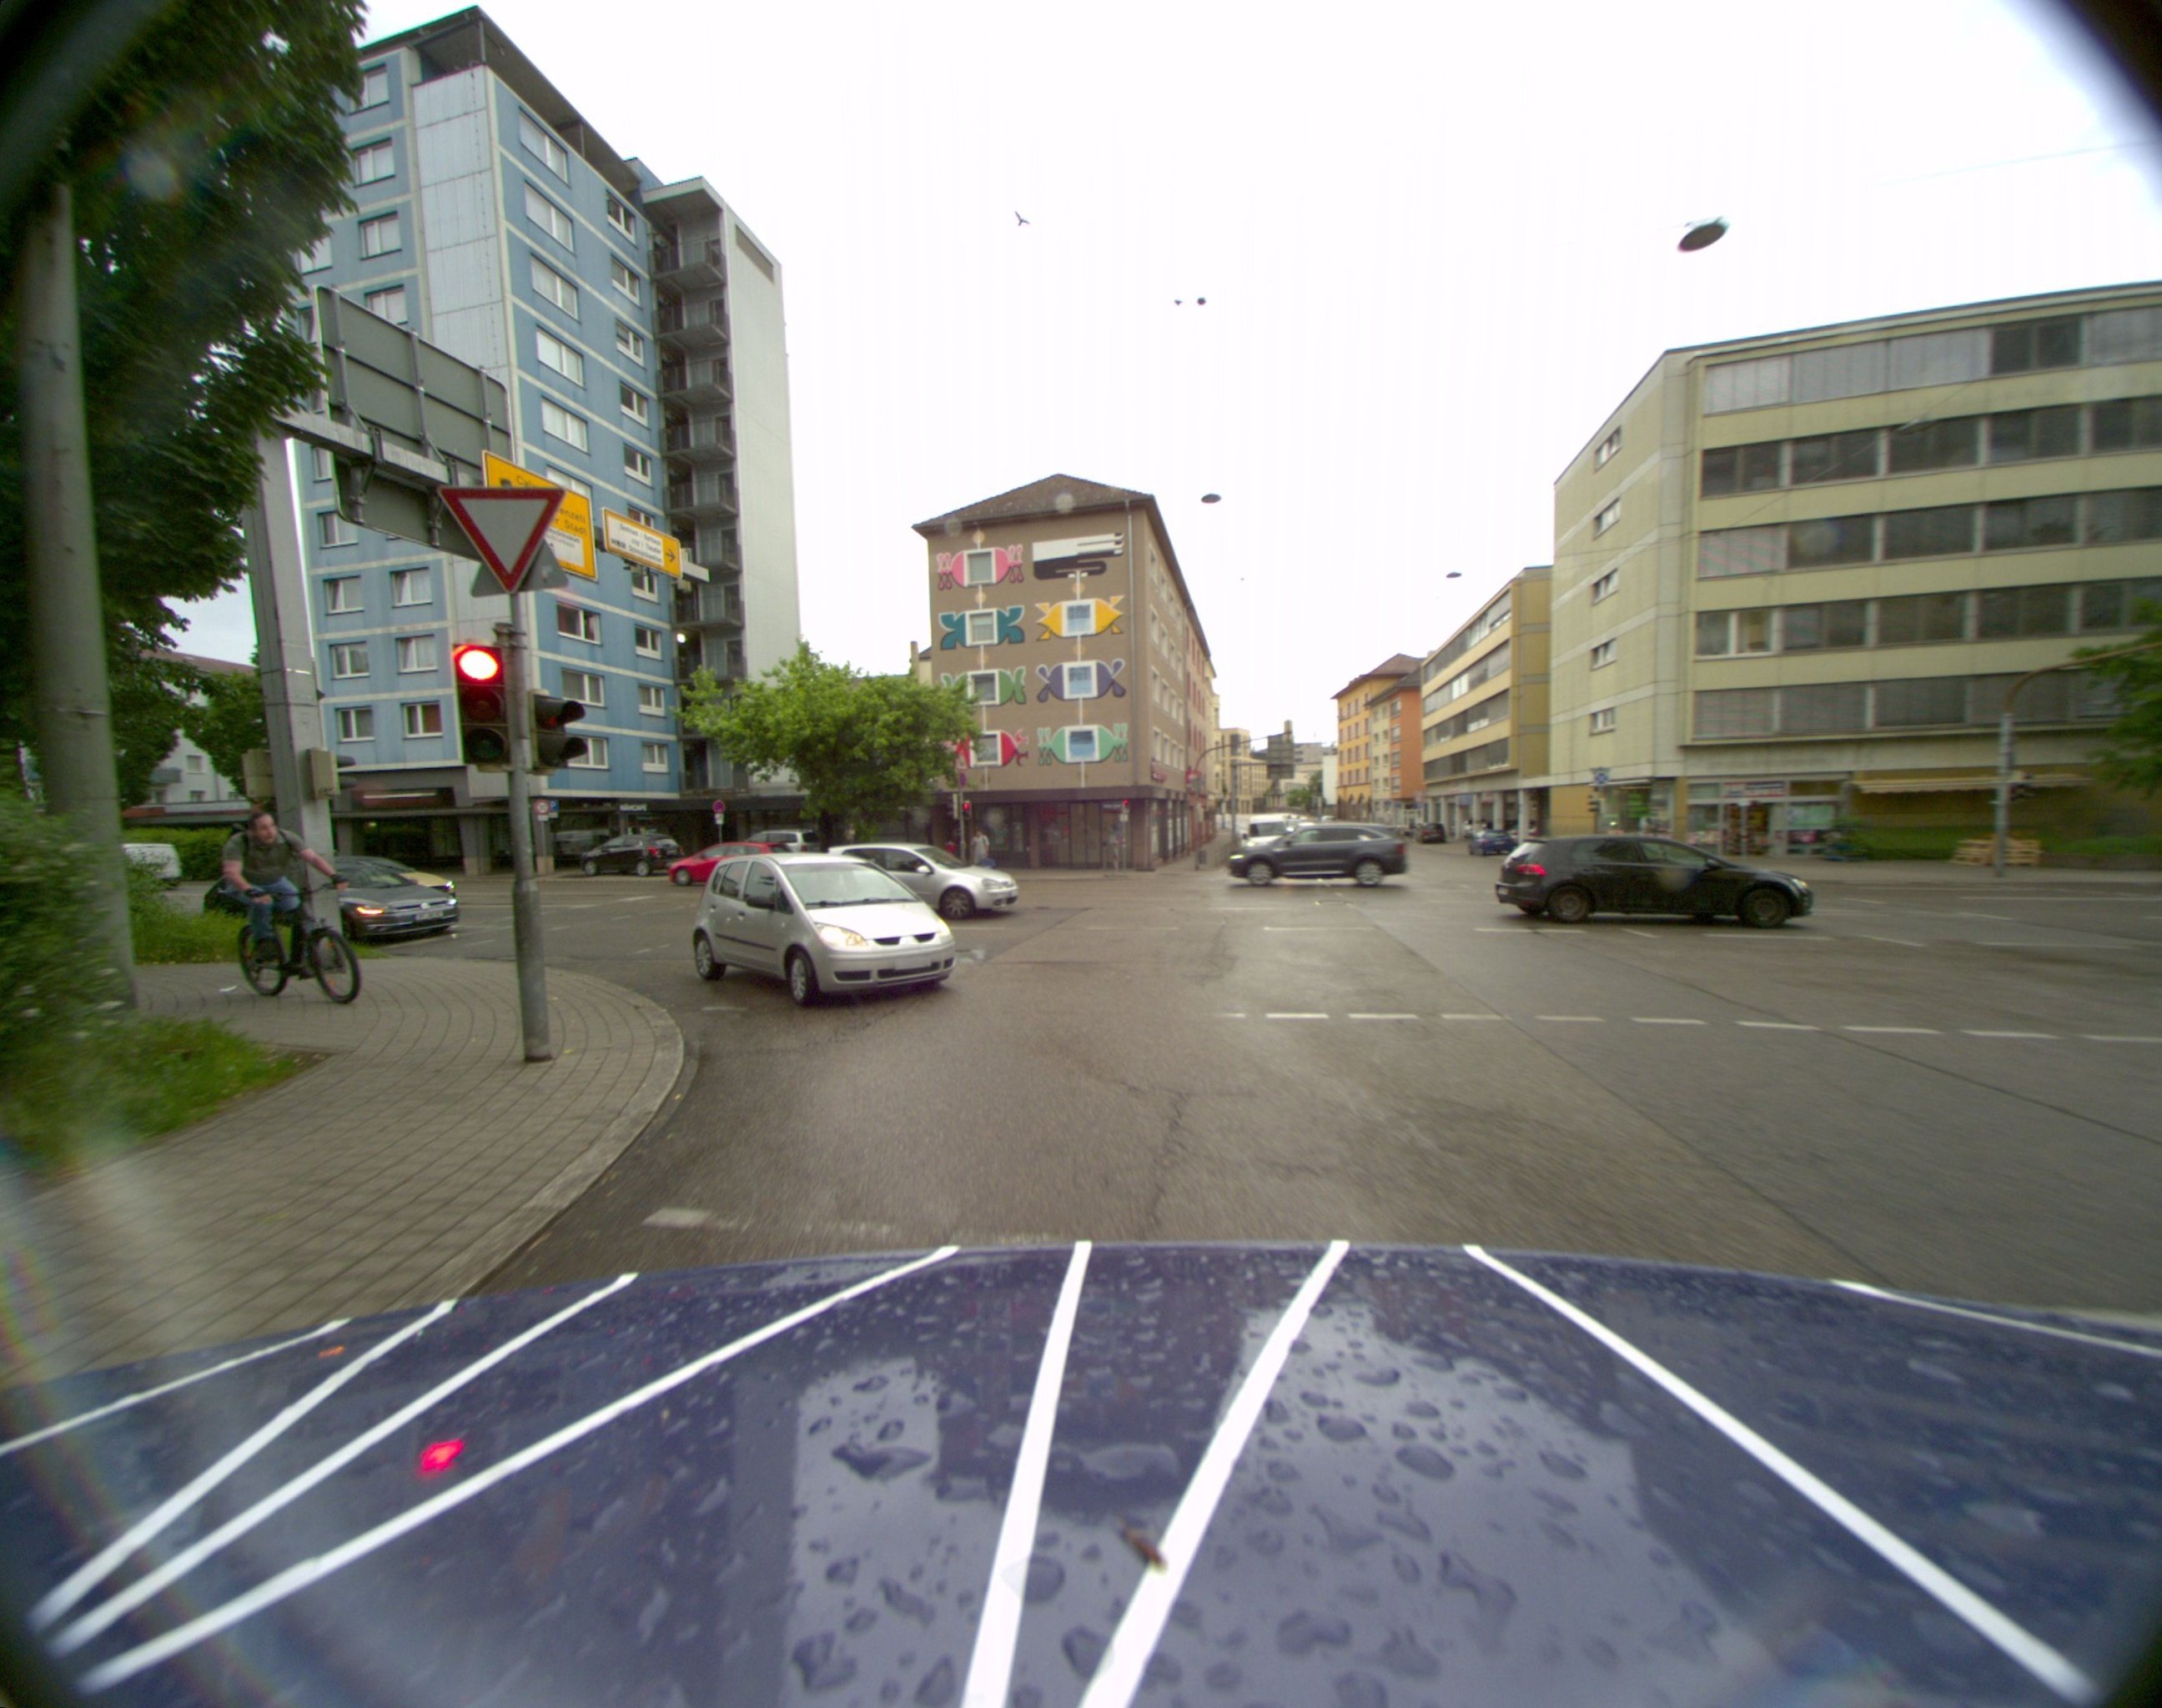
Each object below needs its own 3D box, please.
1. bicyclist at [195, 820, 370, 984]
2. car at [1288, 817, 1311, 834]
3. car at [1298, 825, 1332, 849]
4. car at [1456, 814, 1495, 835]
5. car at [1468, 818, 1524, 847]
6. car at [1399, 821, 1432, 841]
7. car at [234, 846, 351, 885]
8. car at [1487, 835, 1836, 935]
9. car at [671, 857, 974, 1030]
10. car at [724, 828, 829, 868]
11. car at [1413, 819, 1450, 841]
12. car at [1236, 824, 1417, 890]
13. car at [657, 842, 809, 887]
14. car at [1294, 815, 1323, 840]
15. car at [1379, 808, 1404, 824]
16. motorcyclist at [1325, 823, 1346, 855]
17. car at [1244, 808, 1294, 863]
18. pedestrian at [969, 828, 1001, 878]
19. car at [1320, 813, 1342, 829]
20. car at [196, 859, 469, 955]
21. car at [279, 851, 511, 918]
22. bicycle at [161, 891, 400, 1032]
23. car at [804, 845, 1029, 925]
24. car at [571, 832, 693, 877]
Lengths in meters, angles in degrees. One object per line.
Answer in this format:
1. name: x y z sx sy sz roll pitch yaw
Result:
1. bicyclist: -7.821 0.439 7.468 0.966 1.481 0.890 0 0 22
2. car: 20.068 -2.611 69.755 1.847 1.411 3.572 -4 1 14
3. car: 15.107 -1.123 49.196 1.847 1.411 3.572 -4 1 14
4. car: 32.895 -2.431 63.417 1.847 1.558 4.372 -4 1 14
5. car: 23.131 -1.212 42.440 1.847 1.411 3.572 -4 1 14
6. car: 28.474 -1.963 64.794 1.847 1.558 4.372 -4 1 14
7. car: -32.106 0.474 30.978 3.436 1.476 1.708 -1 2 13
8. car: 9.130 0.438 12.350 4.159 1.417 1.689 0 3 13
9. car: -3.144 0.840 8.842 3.827 1.496 1.691 -1 3 44
10. car: -13.957 -0.310 34.894 4.179 1.657 1.651 1 5 13
11. car: 27.451 -1.893 59.633 1.847 1.558 4.372 -4 1 14
12. car: 6.701 0.059 21.066 4.561 1.693 1.993 0 2 16
13. car: -11.825 0.340 25.919 4.575 1.415 1.709 0 2 12
14. car: 17.417 -2.031 58.242 1.847 1.705 3.572 -4 1 14
15. car: 34.265 -4.185 83.978 1.847 1.558 4.372 -4 1 14
16. motorcyclist: 12.225 -0.725 36.466 0.878 1.471 0.797 -1 2 14
17. car: 9.714 -0.974 39.131 2.229 2.509 5.475 -3 1 14
18. pedestrian: -3.428 -0.034 27.175 0.902 1.764 0.818 0 2 13
19. car: 29.832 -3.947 90.696 1.847 1.700 4.369 -1 4 10
20. car: -14.270 0.964 14.517 4.492 1.497 1.689 -1 5 18
21. car: -17.309 0.723 19.269 4.573 1.434 1.992 0 5 13
22. bicycle: -7.875 0.983 7.475 2.128 1.180 0.890 0 0 22
23. car: -3.243 0.573 15.222 4.029 1.417 1.689 0 3 13
24. car: -18.255 -0.006 30.945 4.179 1.657 1.651 1 5 13
